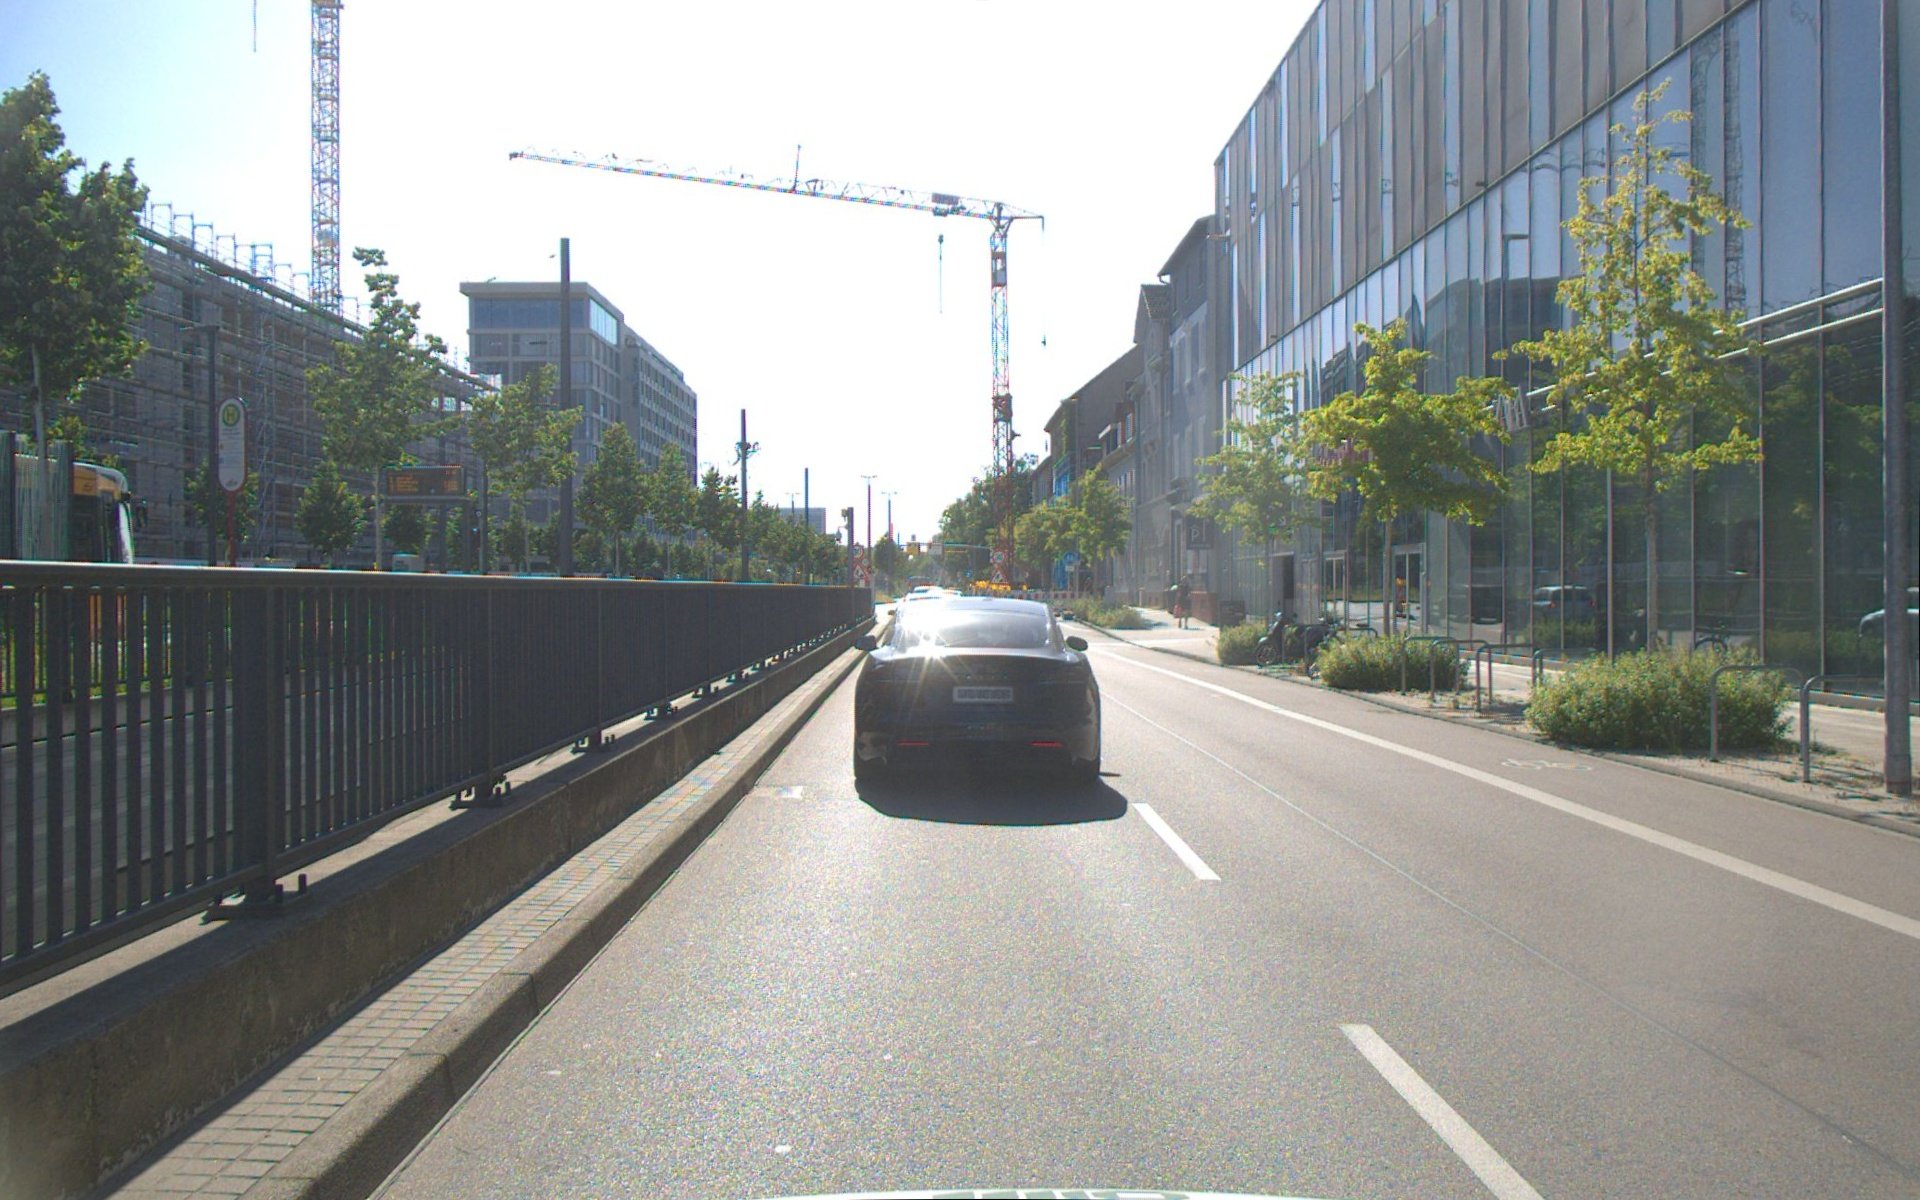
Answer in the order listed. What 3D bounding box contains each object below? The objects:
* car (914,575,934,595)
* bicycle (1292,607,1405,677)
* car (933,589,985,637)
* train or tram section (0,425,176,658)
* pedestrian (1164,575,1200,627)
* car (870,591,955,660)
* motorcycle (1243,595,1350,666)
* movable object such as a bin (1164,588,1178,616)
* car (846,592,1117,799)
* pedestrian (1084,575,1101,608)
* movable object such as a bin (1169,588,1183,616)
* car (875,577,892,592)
[{"bbox_3d":[-3.391,-1.449,158.240,1.776,1.841,4.039,0,1,0],"label":"car"},{"bbox_3d":[6.977,0.746,29.741,1.848,1.171,0.670,-2,0,-11],"label":"bicycle"},{"bbox_3d":[-0.010,0.414,56.947,1.748,1.573,4.039,0,1,0],"label":"car"},{"bbox_3d":[-15.109,-0.821,18.033,2.812,3.336,22.140,1,1,-1],"label":"train or tram section"},{"bbox_3d":[8.325,0.033,62.115,1.073,1.896,1.522,-1,0,-2],"label":"pedestrian"},{"bbox_3d":[-0.948,0.503,34.920,1.681,1.343,4.000,0,1,0],"label":"car"},{"bbox_3d":[6.991,0.643,34.381,2.030,1.377,0.652,-3,0,22],"label":"motorcycle"},{"bbox_3d":[9.143,0.097,71.586,0.547,1.189,0.562,1,0,3],"label":"movable object such as a bin"},{"bbox_3d":[0.255,0.679,14.193,1.957,1.459,4.414,0,1,3],"label":"car"},{"bbox_3d":[7.677,-0.470,95.857,0.834,1.896,0.929,-1,0,-2],"label":"pedestrian"},{"bbox_3d":[9.235,0.099,70.739,0.547,1.189,0.562,1,0,3],"label":"movable object such as a bin"},{"bbox_3d":[-8.994,-1.770,194.556,1.953,1.713,3.998,1,0,-2],"label":"car"}]
